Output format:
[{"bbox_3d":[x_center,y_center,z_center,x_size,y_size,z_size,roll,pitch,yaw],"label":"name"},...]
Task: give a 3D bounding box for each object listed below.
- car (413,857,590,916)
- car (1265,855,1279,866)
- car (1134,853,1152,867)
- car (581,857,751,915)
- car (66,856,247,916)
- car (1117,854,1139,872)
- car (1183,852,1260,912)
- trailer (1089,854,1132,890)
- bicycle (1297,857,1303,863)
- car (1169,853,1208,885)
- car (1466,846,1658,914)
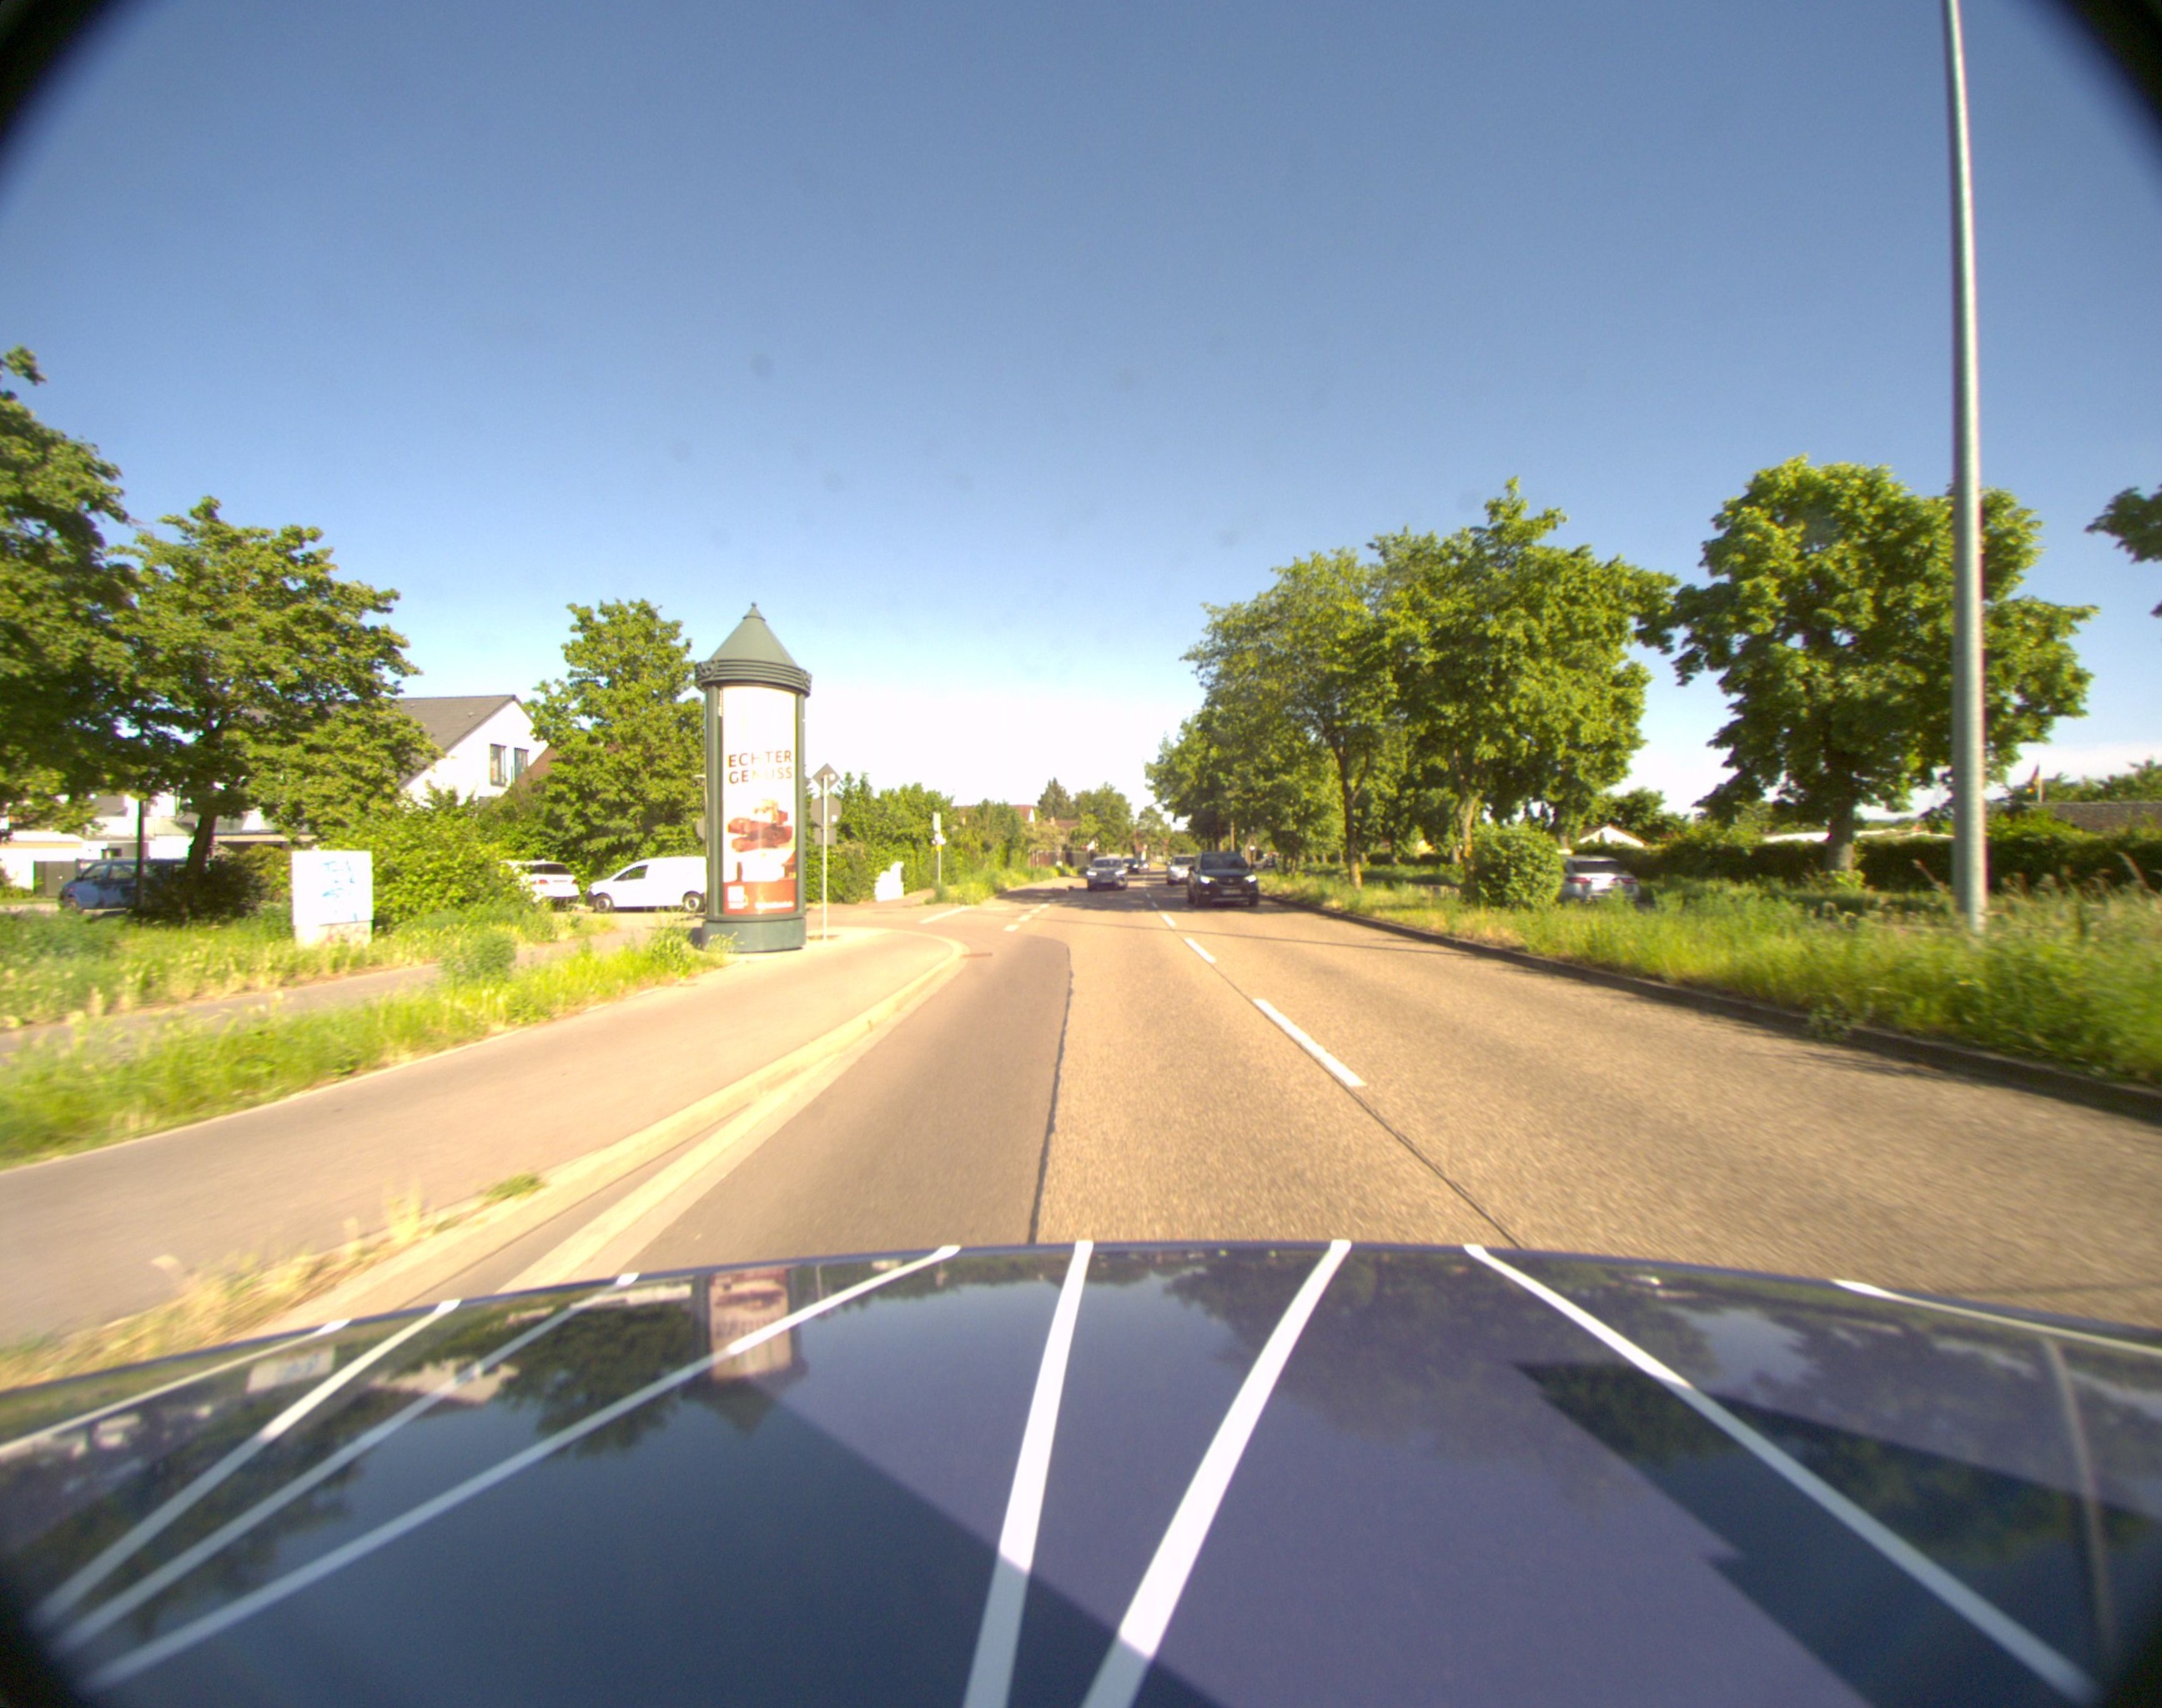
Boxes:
[{"bbox_3d":[-19.474,1.080,25.647,4.526,1.857,2.073,-1,-2,6],"label":"car"},{"bbox_3d":[25.786,0.817,102.830,1.695,1.428,4.945,1,0,12],"label":"car"},{"bbox_3d":[7.585,0.741,92.701,1.822,1.587,4.275,-2,0,9],"label":"car"},{"bbox_3d":[-13.702,1.055,25.236,4.640,1.790,1.934,-1,-2,6],"label":"car"},{"bbox_3d":[-33.039,1.133,27.218,4.387,2.033,1.988,-1,-1,6],"label":"car"},{"bbox_3d":[4.569,0.849,73.241,1.822,1.553,4.274,-1,1,6],"label":"car"},{"bbox_3d":[4.191,0.778,23.333,1.810,1.605,4.515,-1,1,4],"label":"car"},{"bbox_3d":[1.478,0.859,36.983,1.897,1.585,4.001,-2,-1,4],"label":"trailer"},{"bbox_3d":[34.999,0.910,121.549,0.690,0.990,1.843,-1,0,10],"label":"bicycle"},{"bbox_3d":[5.697,0.766,40.684,1.823,1.553,4.648,-2,0,6],"label":"car"},{"bbox_3d":[12.934,0.621,21.002,1.861,1.596,5.575,1,0,1],"label":"car"}]
